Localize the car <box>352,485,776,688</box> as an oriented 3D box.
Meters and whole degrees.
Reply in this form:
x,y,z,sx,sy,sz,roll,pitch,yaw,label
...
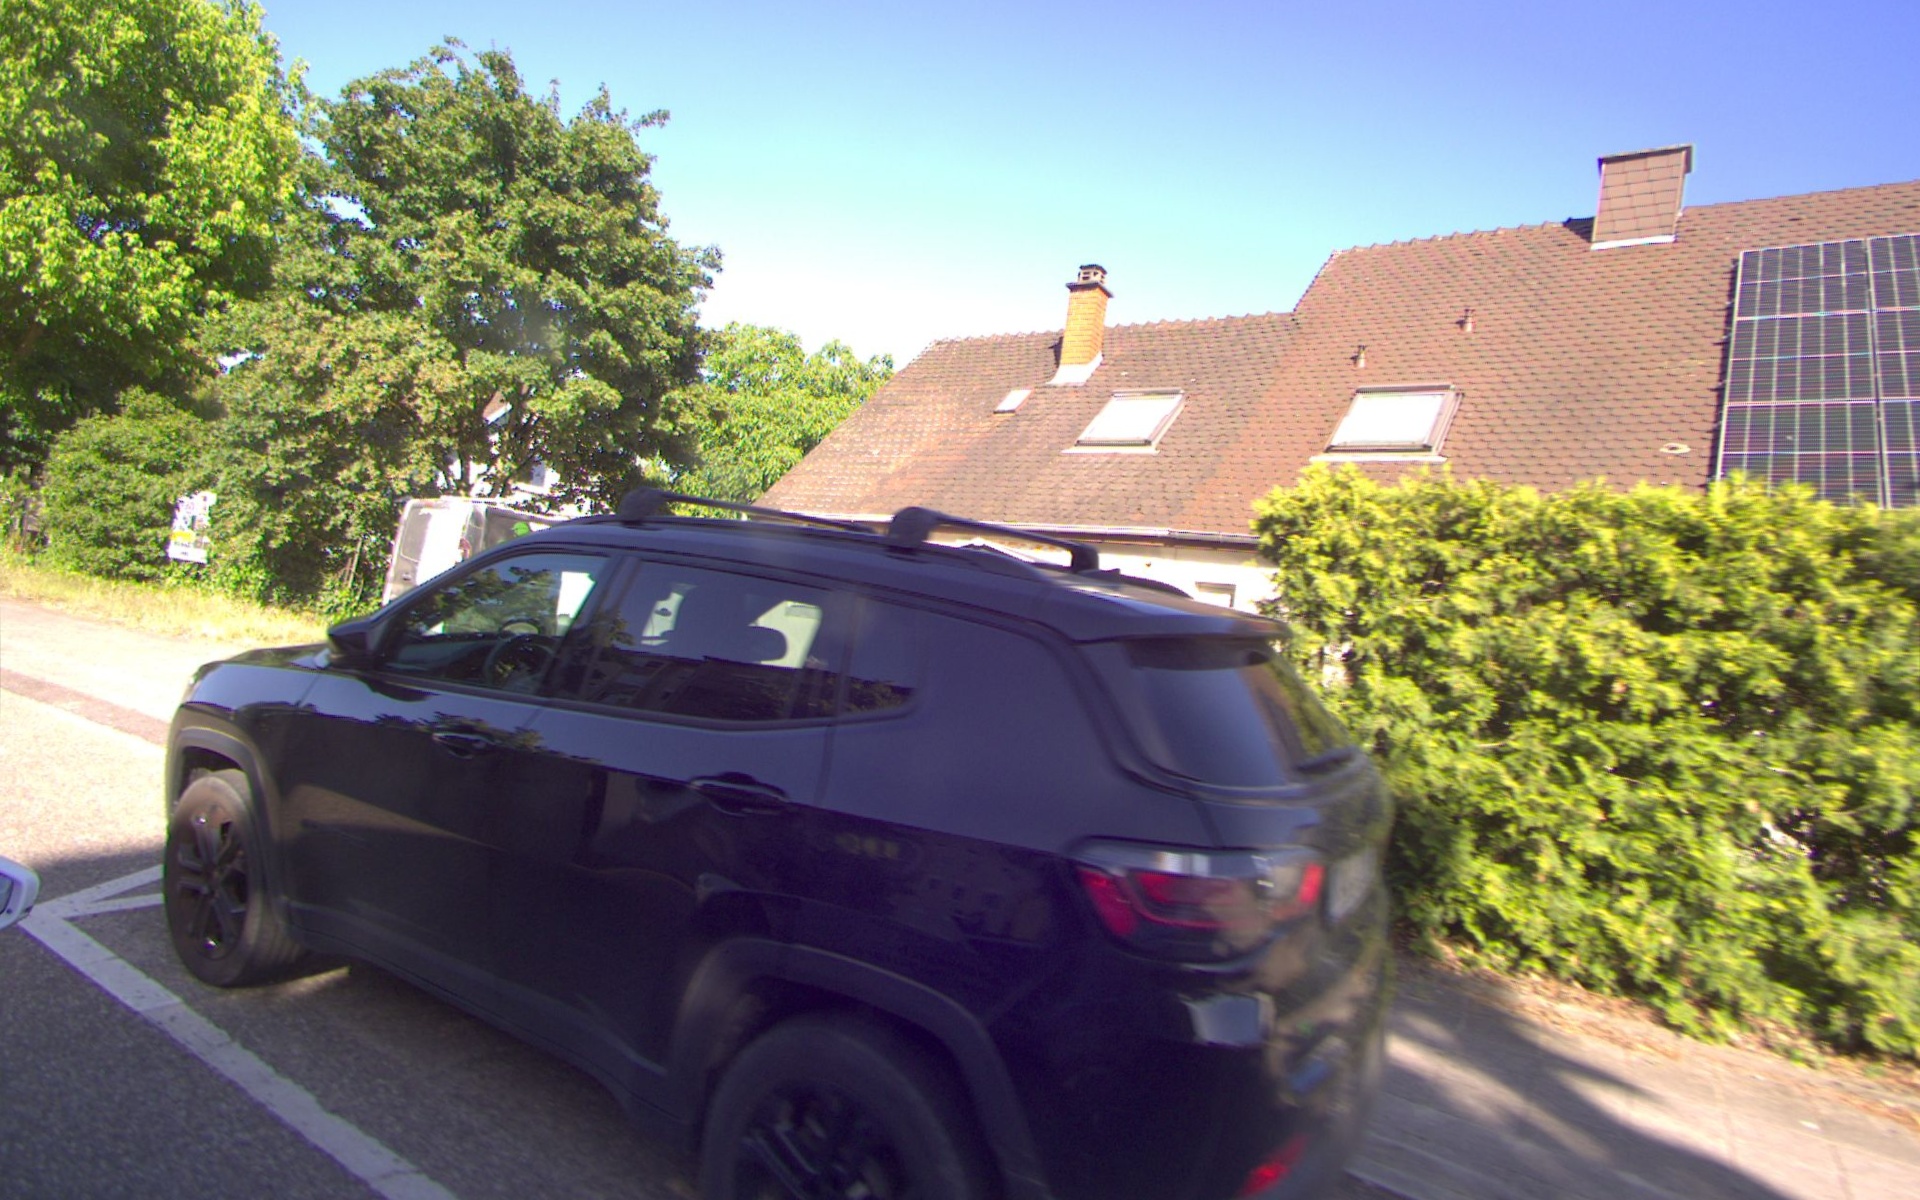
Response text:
x,y,z,sx,sy,sz,roll,pitch,yaw,label
-4.990,-0.053,13.356,2.110,2.006,4.685,6,-2,36,car

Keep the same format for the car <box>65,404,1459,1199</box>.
x,y,z,sx,sy,sz,roll,pitch,yaw,label
-0.882,0.493,3.280,4.223,1.744,1.781,6,-2,32,car
